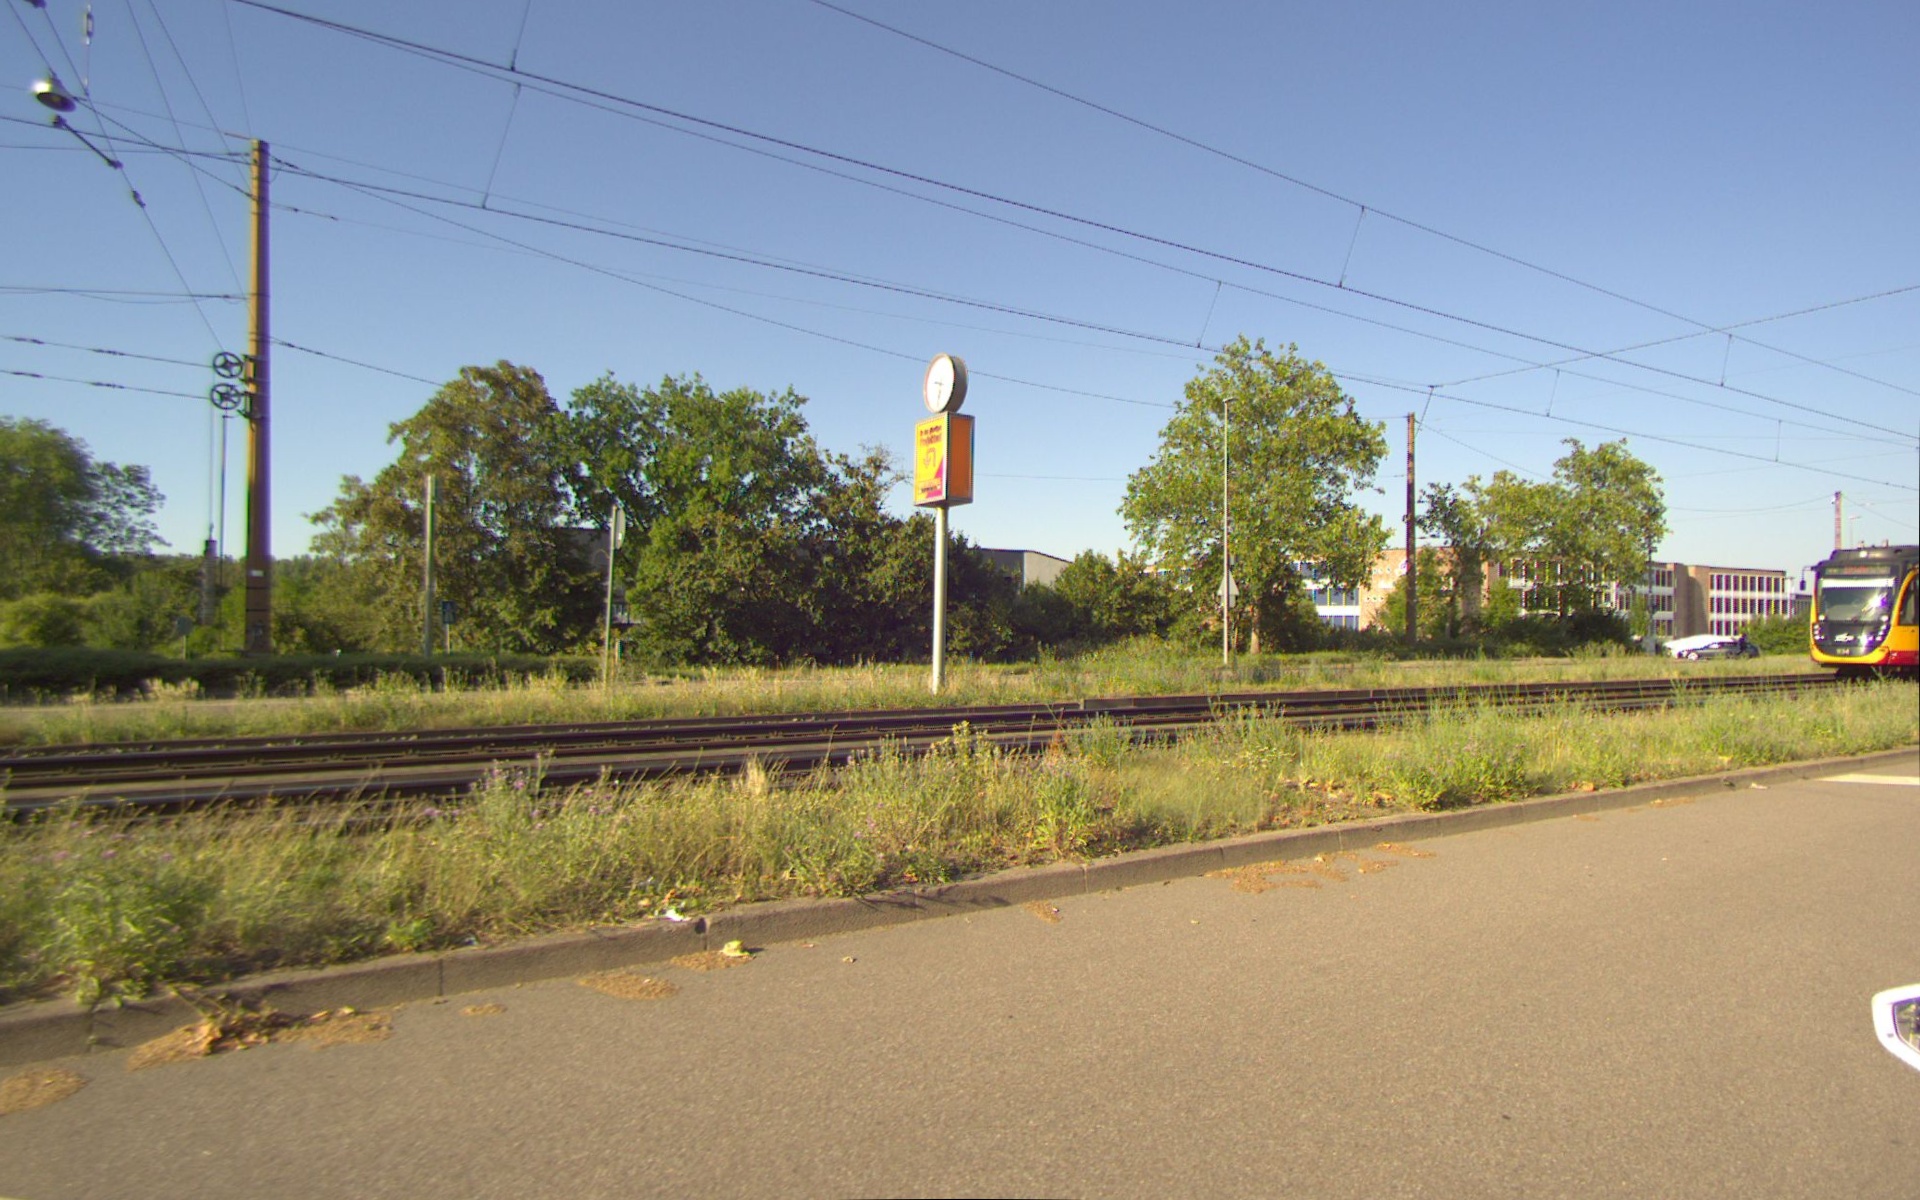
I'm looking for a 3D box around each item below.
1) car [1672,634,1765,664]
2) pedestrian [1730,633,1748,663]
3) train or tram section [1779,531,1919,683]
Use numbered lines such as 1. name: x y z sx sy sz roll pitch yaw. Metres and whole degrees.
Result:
1. car: 53.021 3.400 70.335 5.050 1.839 1.943 1 0 34
2. pedestrian: 48.957 3.011 63.124 0.639 1.845 0.541 1 0 -8
3. train or tram section: 29.191 0.325 30.481 12.192 3.954 2.789 2 0 -31
